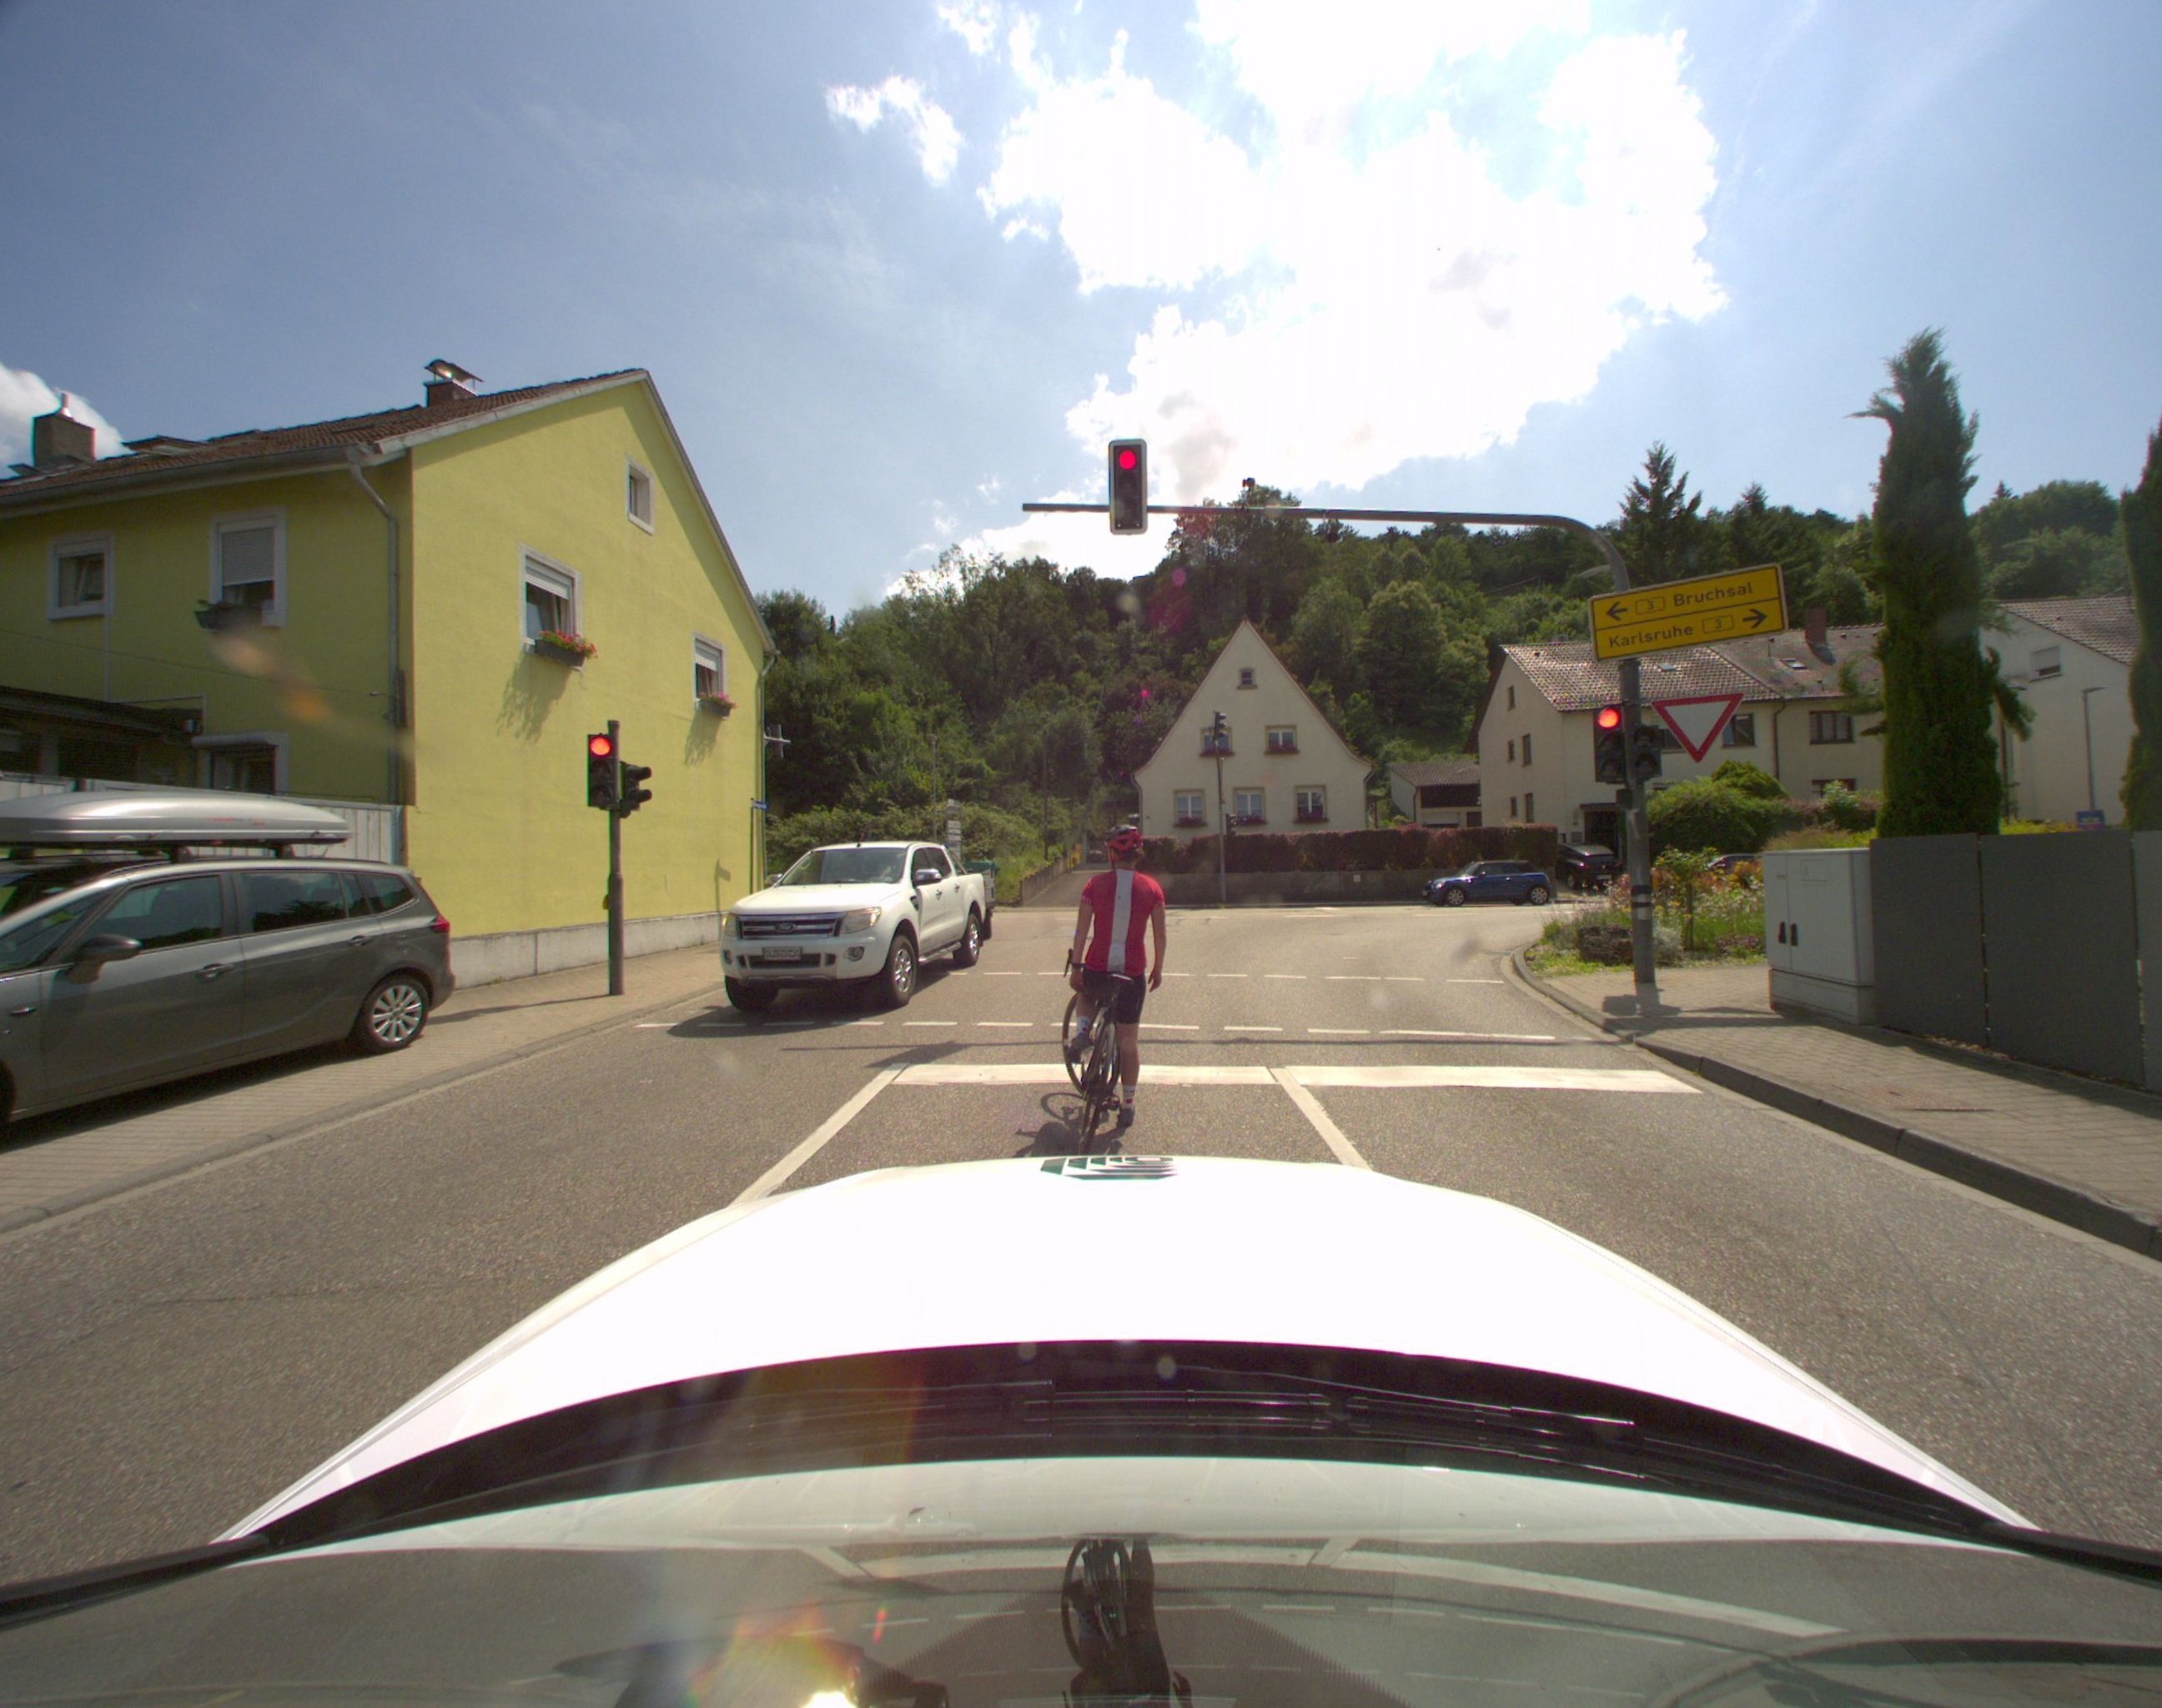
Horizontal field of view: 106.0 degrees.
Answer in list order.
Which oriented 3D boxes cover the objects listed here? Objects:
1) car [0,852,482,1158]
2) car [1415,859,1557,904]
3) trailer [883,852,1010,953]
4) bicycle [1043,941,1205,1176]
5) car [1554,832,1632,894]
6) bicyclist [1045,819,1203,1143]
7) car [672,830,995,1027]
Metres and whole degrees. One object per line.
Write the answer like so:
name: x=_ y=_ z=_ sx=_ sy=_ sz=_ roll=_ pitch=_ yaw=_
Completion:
car: x=-6.731 y=0.807 z=5.375 sx=1.986 sy=1.635 sz=4.632 roll=0 pitch=0 yaw=2
car: x=12.545 y=0.880 z=25.407 sx=3.590 sy=1.363 sz=1.647 roll=-1 pitch=-3 yaw=6
trailer: x=-2.368 y=0.804 z=15.377 sx=1.969 sy=1.539 sz=4.437 roll=-2 pitch=0 yaw=-5
bicycle: x=0.166 y=1.030 z=4.610 sx=0.629 sy=0.905 sz=1.653 roll=0 pitch=0 yaw=-8
car: x=18.873 y=0.285 z=30.200 sx=1.780 sy=1.388 sz=3.709 roll=-1 pitch=13 yaw=21
bicyclist: x=0.210 y=0.654 z=4.671 sx=0.760 sy=1.664 sz=0.866 roll=0 pitch=-1 yaw=-8
car: x=-2.628 y=0.715 z=10.330 sx=1.963 sy=1.775 sz=5.322 roll=-3 pitch=0 yaw=5
